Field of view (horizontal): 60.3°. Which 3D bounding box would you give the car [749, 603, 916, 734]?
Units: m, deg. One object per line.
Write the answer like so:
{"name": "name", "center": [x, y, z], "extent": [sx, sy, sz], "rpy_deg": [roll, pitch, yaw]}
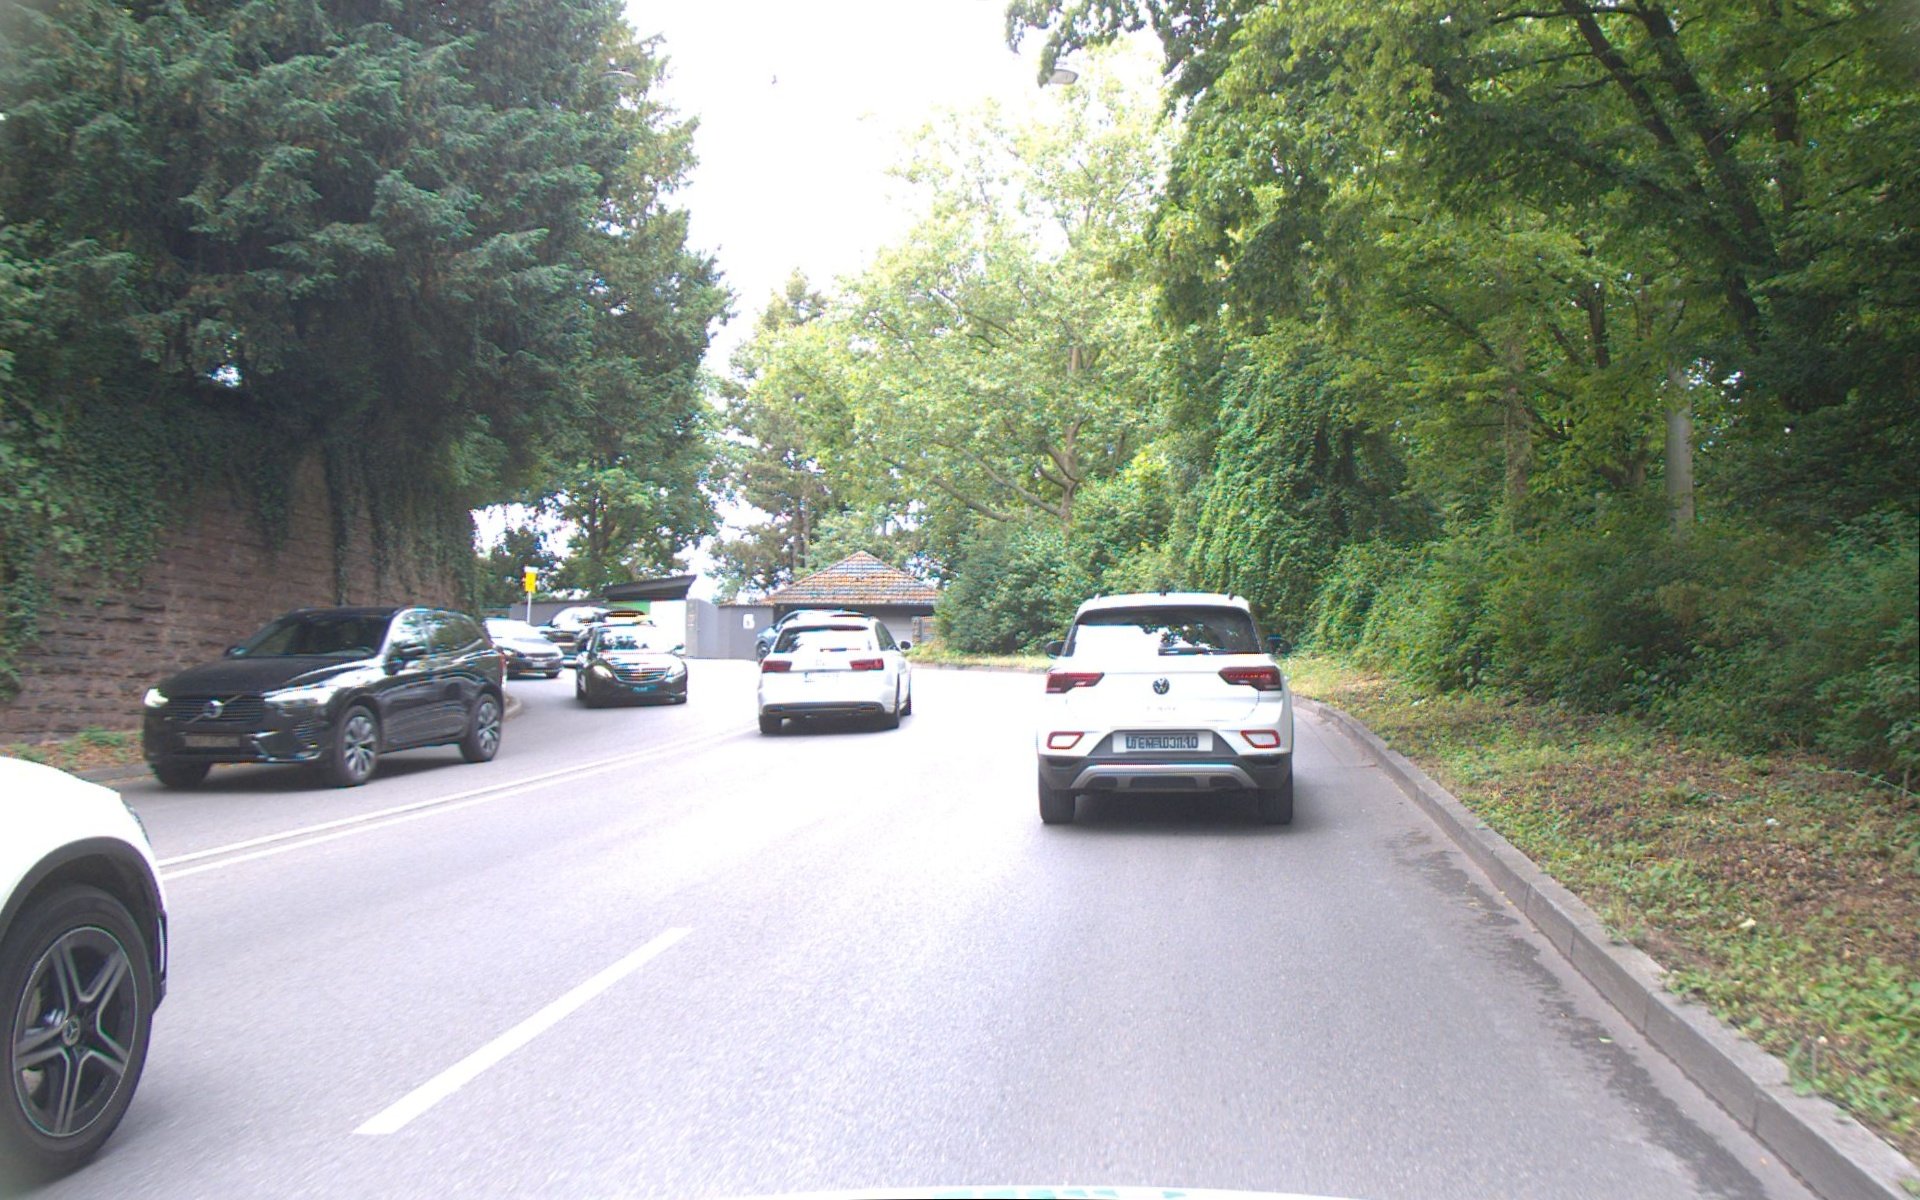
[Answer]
{"name": "car", "center": [-1.651, 0.901, 22.895], "extent": [1.826, 1.561, 4.776], "rpy_deg": [-2, -1, 1]}

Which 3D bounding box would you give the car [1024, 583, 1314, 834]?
{"name": "car", "center": [1.773, 0.691, 12.702], "extent": [1.717, 1.580, 4.341], "rpy_deg": [-1, 0, 14]}

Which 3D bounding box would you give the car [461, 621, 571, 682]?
{"name": "car", "center": [-11.042, 1.262, 40.975], "extent": [1.751, 1.363, 3.922], "rpy_deg": [-2, -1, -28]}

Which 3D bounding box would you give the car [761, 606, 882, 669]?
{"name": "car", "center": [-3.685, 0.993, 43.385], "extent": [1.652, 1.527, 3.983], "rpy_deg": [-2, -1, -29]}

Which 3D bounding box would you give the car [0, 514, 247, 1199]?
{"name": "car", "center": [-3.178, 0.587, 2.739], "extent": [1.820, 1.634, 4.671], "rpy_deg": [1, -1, 2]}

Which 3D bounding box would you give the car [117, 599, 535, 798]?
{"name": "car", "center": [-6.009, 0.875, 16.373], "extent": [1.810, 1.678, 4.514], "rpy_deg": [0, -1, 10]}

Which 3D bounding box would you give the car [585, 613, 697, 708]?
{"name": "car", "center": [-6.138, 1.115, 31.465], "extent": [1.831, 1.625, 4.613], "rpy_deg": [-1, -1, -14]}
